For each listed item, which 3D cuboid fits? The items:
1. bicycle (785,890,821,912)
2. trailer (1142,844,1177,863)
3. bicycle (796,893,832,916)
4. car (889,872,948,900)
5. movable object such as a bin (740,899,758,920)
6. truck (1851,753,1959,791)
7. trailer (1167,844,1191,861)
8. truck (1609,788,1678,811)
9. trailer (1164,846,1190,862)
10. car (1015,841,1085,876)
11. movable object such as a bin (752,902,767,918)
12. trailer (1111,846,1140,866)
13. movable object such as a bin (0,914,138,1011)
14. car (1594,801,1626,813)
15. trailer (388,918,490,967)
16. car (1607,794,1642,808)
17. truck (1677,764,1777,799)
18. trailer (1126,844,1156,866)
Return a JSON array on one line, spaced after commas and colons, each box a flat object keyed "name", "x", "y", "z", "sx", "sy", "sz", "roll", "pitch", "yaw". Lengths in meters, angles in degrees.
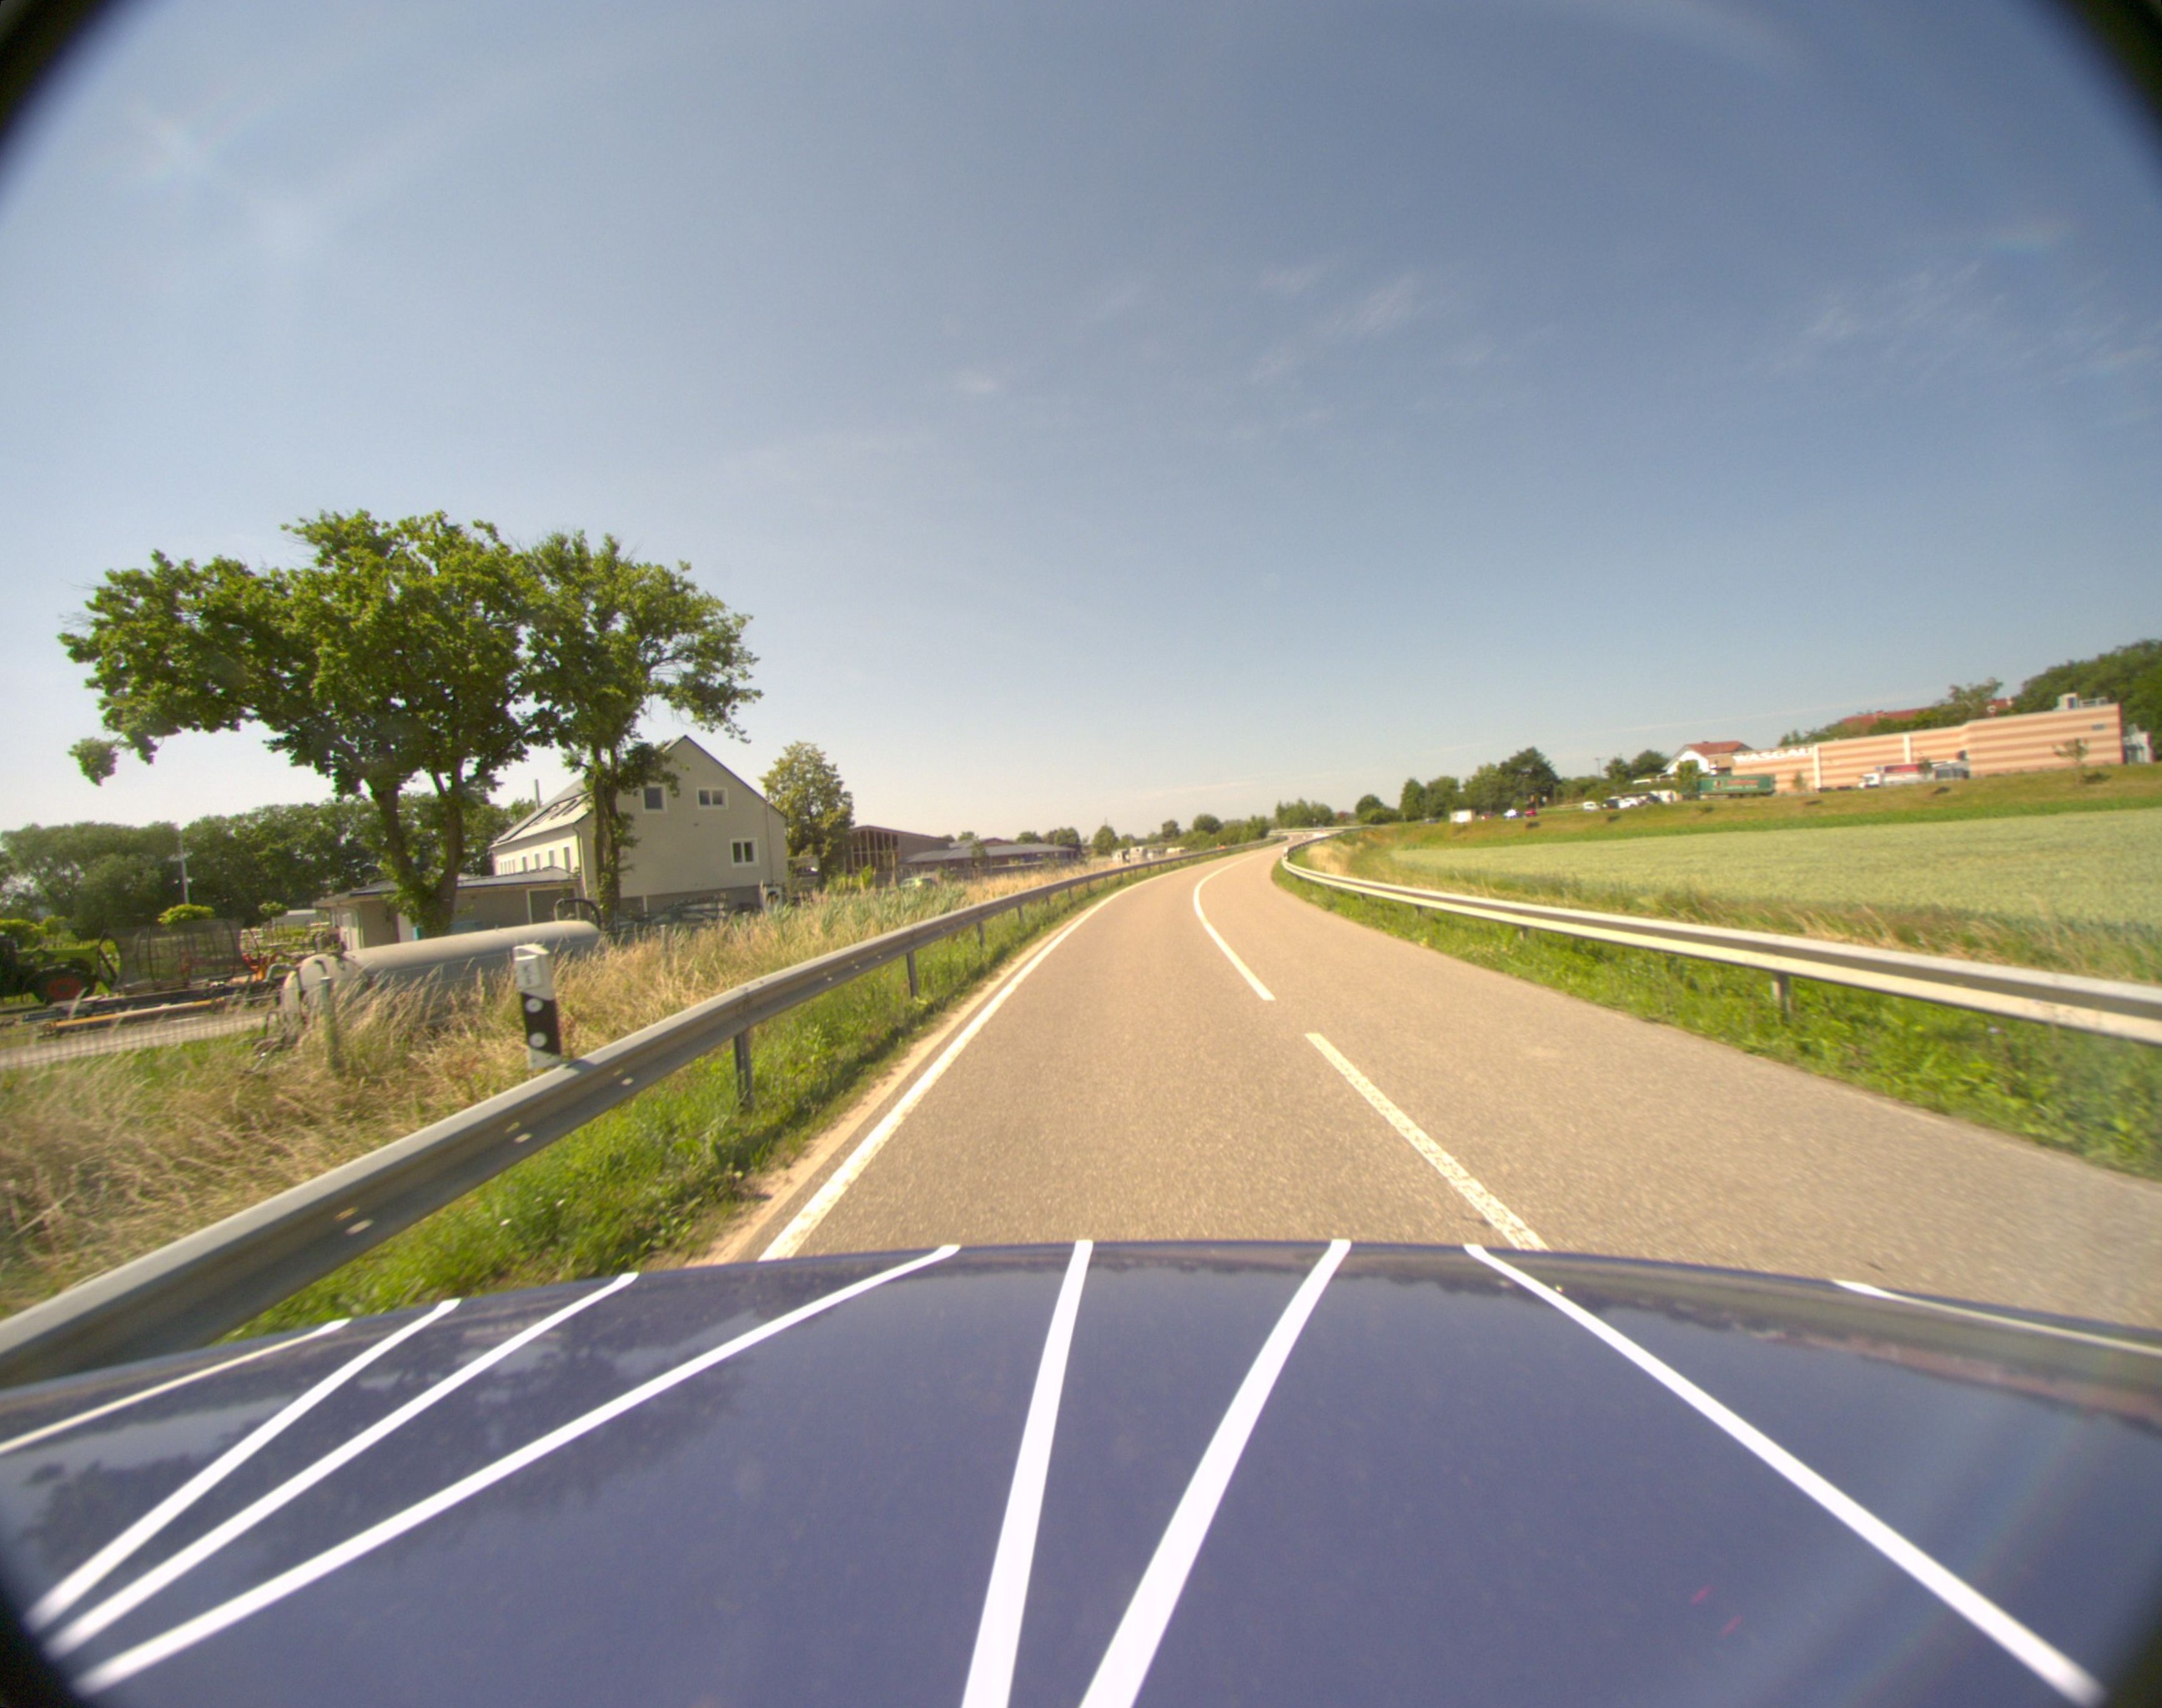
[{"name": "bicycle", "x": -17.972, "y": 3.061, "z": 49.176, "sx": 0.713, "sy": 1.185, "sz": 1.973, "roll": -5, "pitch": 0, "yaw": 44}, {"name": "trailer", "x": 12.693, "y": -0.118, "z": 123.233, "sx": 5.175, "sy": 2.672, "sz": 2.212, "roll": -5, "pitch": 0, "yaw": 44}, {"name": "bicycle", "x": -17.095, "y": 3.233, "z": 48.687, "sx": 0.713, "sy": 1.185, "sz": 1.973, "roll": -6, "pitch": 2, "yaw": 44}, {"name": "car", "x": -11.969, "y": 2.365, "z": 55.672, "sx": 4.363, "sy": 1.571, "sz": 1.936, "roll": -6, "pitch": 2, "yaw": 43}, {"name": "movable object such as a bin", "x": -18.946, "y": 3.178, "z": 43.386, "sx": 0.662, "sy": 1.143, "sz": 0.577, "roll": -5, "pitch": 1, "yaw": -45}, {"name": "truck", "x": 102.713, "y": -10.174, "z": 94.954, "sx": 2.882, "sy": 3.544, "sz": 8.861, "roll": -8, "pitch": 2, "yaw": -44}, {"name": "trailer", "x": 17.787, "y": -0.240, "z": 137.700, "sx": 3.412, "sy": 2.789, "sz": 2.169, "roll": -4, "pitch": 1, "yaw": 42}, {"name": "truck", "x": 111.877, "y": -10.802, "z": 151.283, "sx": 10.696, "sy": 3.173, "sz": 2.450, "roll": -5, "pitch": 2, "yaw": 31}, {"name": "trailer", "x": 16.963, "y": -0.057, "z": 133.993, "sx": 2.010, "sy": 2.376, "sz": 4.085, "roll": -6, "pitch": -1, "yaw": -39}, {"name": "car", "x": -3.898, "y": 0.573, "z": 93.542, "sx": 8.974, "sy": 3.631, "sz": 2.784, "roll": -5, "pitch": 0, "yaw": 41}, {"name": "movable object such as a bin", "x": -18.595, "y": 3.239, "z": 43.918, "sx": 0.561, "sy": 0.905, "sz": 0.502, "roll": -5, "pitch": 1, "yaw": -45}, {"name": "trailer", "x": 6.214, "y": 0.222, "z": 106.639, "sx": 2.177, "sy": 2.655, "sz": 4.472, "roll": -4, "pitch": 2, "yaw": -21}, {"name": "movable object such as a bin", "x": -35.625, "y": 3.721, "z": 24.183, "sx": 3.005, "sy": 2.753, "sz": 6.515, "roll": -6, "pitch": 0, "yaw": 30}, {"name": "car", "x": 92.543, "y": -8.220, "z": 132.976, "sx": 4.322, "sy": 1.589, "sz": 2.003, "roll": -5, "pitch": 2, "yaw": 44}, {"name": "trailer", "x": -27.518, "y": 3.742, "z": 32.676, "sx": 3.145, "sy": 1.488, "sz": 1.712, "roll": -8, "pitch": 2, "yaw": -40}, {"name": "car", "x": 89.010, "y": -8.654, "z": 124.458, "sx": 4.322, "sy": 1.694, "sz": 2.003, "roll": -5, "pitch": 2, "yaw": 45}, {"name": "truck", "x": 88.702, "y": -9.931, "z": 104.554, "sx": 2.882, "sy": 3.458, "sz": 9.918, "roll": -8, "pitch": 2, "yaw": -40}, {"name": "trailer", "x": 8.620, "y": 0.153, "z": 110.340, "sx": 2.236, "sy": 2.848, "sz": 5.036, "roll": -4, "pitch": 0, "yaw": -21}]
